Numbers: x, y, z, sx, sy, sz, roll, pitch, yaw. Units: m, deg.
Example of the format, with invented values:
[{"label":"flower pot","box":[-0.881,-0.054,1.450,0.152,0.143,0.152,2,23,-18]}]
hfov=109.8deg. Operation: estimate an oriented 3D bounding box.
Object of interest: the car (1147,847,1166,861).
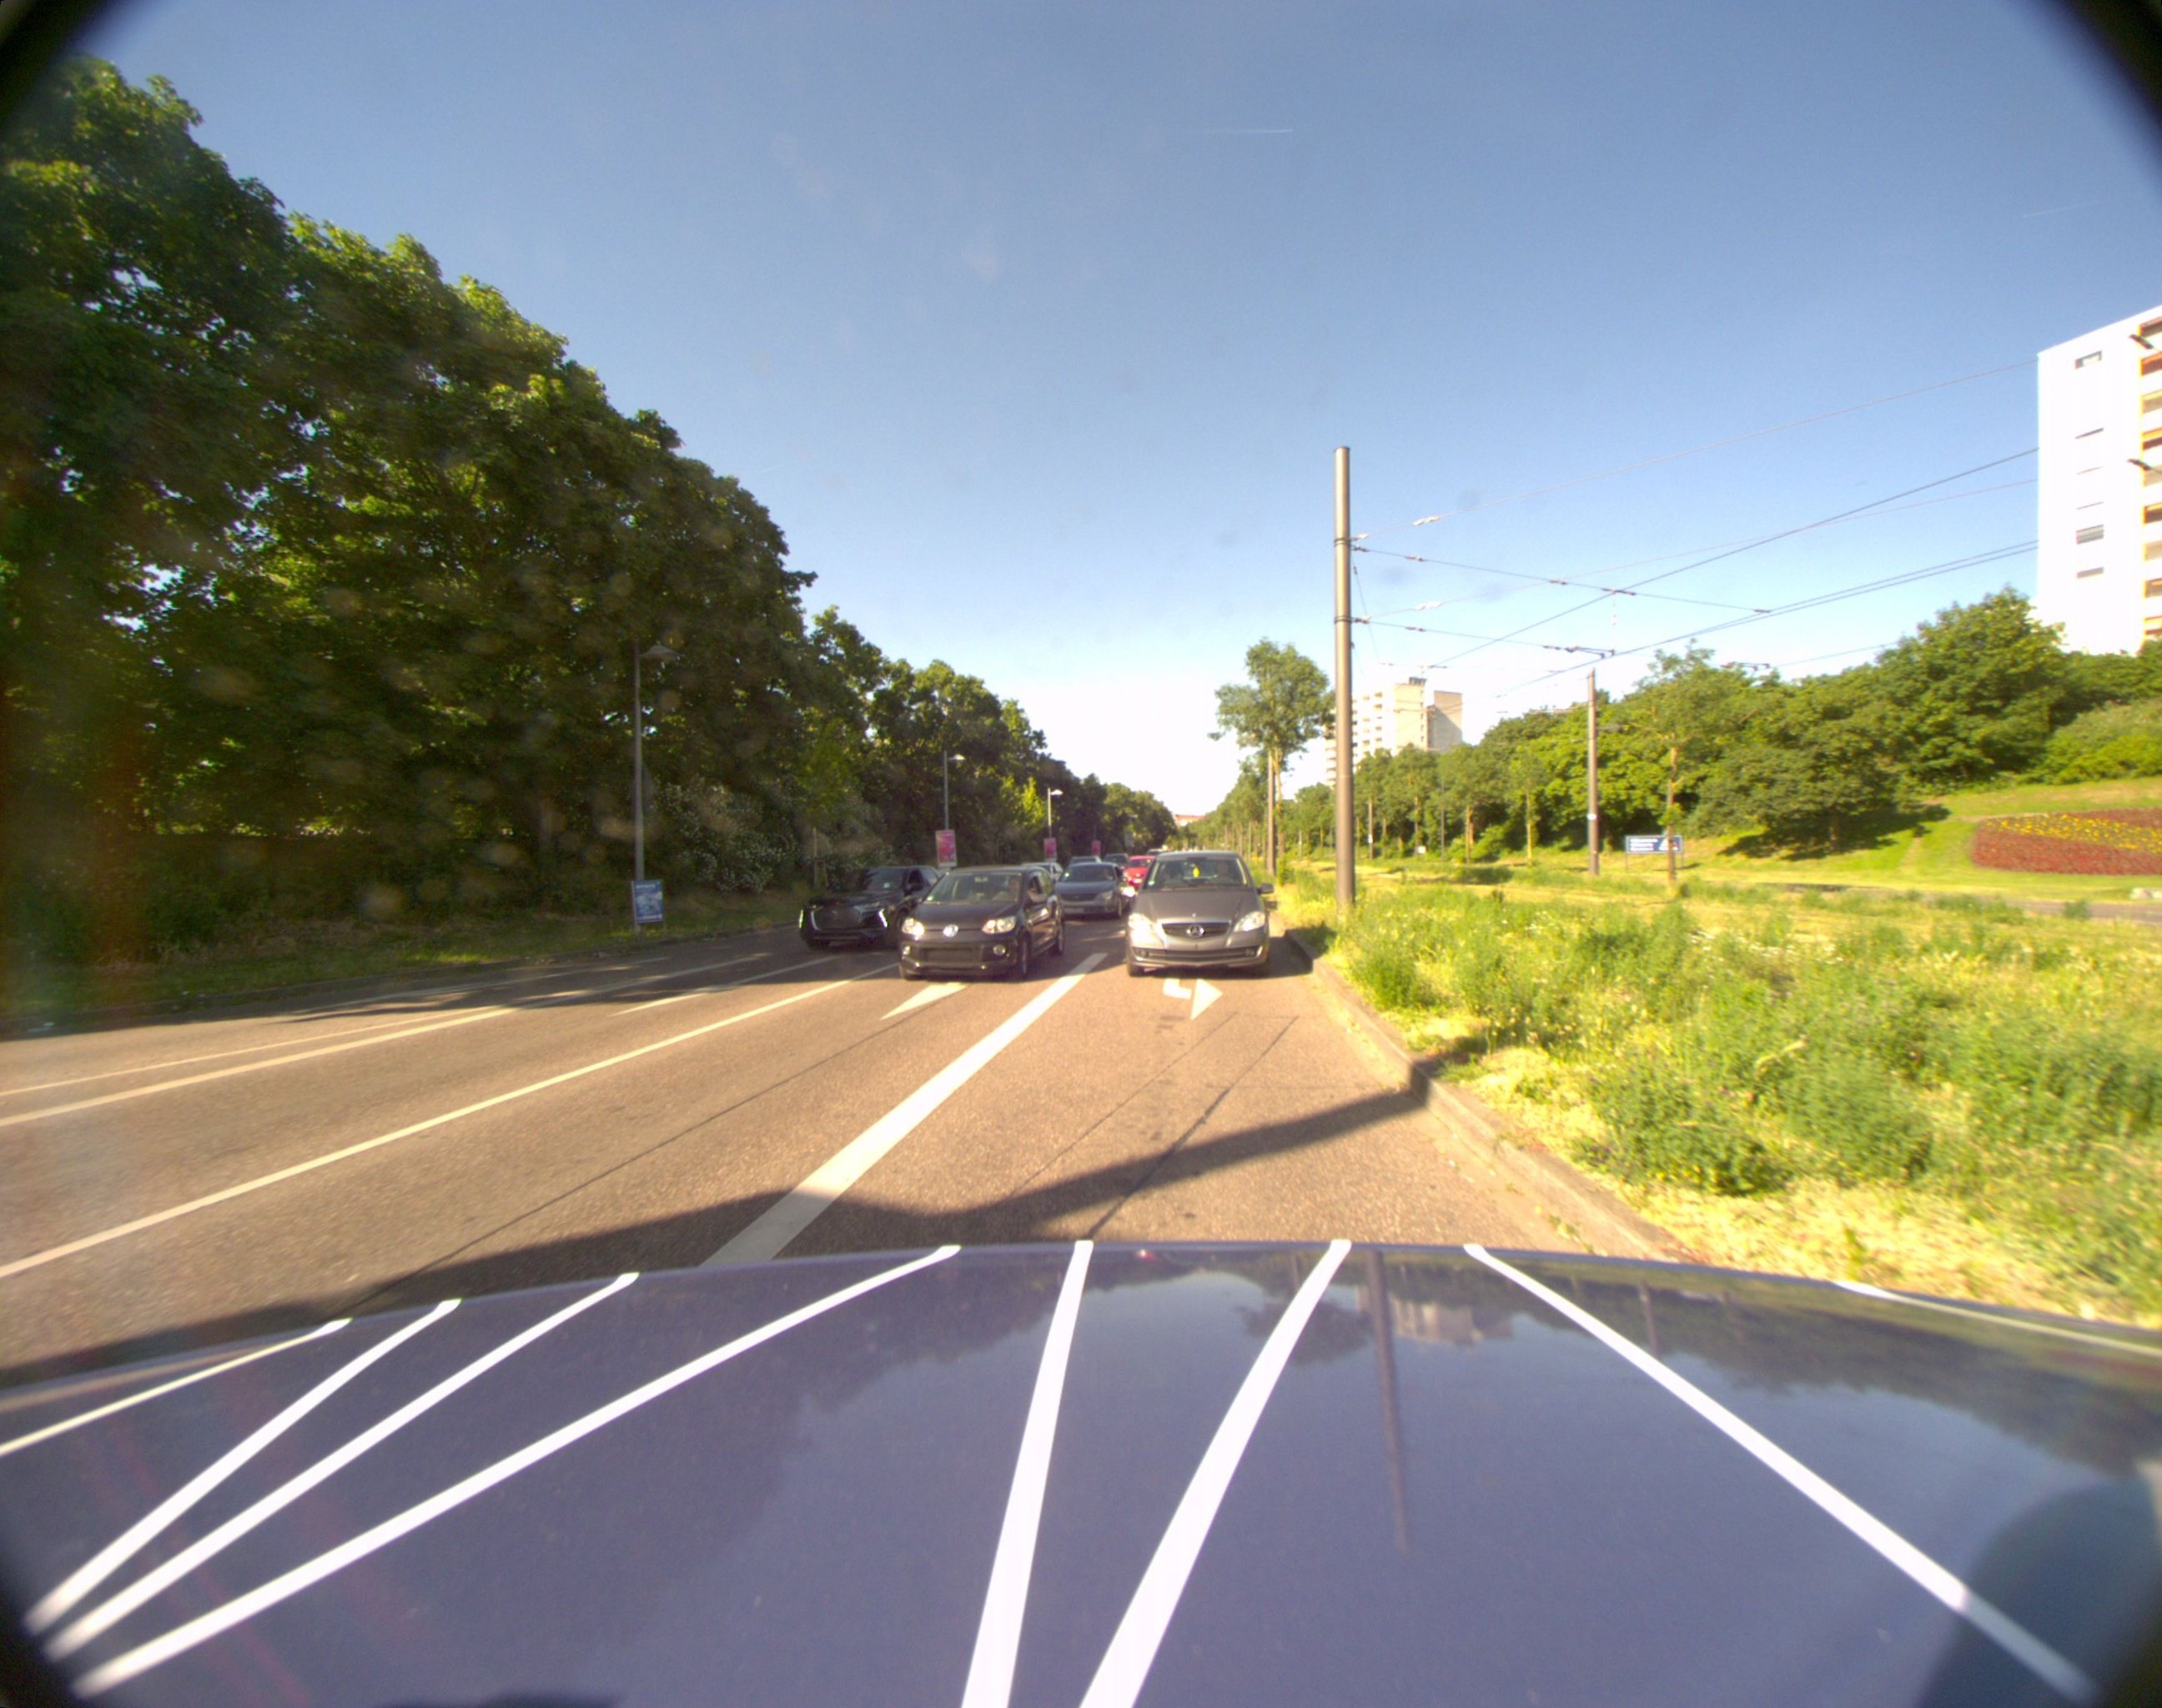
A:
[{"label":"car","box":[8.105,-0.028,80.988,1.712,1.485,3.966,-2,0,9]}]

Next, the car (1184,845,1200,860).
[{"label":"car","box":[12.217,-0.134,83.746,1.629,1.555,3.814,-2,0,9]}]

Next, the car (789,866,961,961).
[{"label":"car","box":[-3.800,1.051,14.804,1.712,1.485,3.966,-2,0,9]}]

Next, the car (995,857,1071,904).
[{"label":"car","box":[-1.622,0.904,27.528,1.747,1.427,4.389,-2,1,9]}]

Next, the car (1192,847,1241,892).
[{"label":"car","box":[5.356,0.559,30.326,1.748,1.652,4.003,-1,0,9]}]

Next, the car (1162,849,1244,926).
[{"label":"car","box":[3.013,0.742,18.936,1.748,1.652,4.002,-2,0,9]}]

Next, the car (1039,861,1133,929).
[{"label":"car","box":[0.239,0.943,19.107,1.712,1.430,4.174,-2,0,9]}]

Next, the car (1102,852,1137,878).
[{"label":"car","box":[2.440,0.655,47.390,1.712,1.485,3.966,-2,0,9]}]

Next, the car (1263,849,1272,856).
[{"label":"car","box":[42.087,-0.351,171.208,1.577,1.412,3.912,-2,0,9]}]

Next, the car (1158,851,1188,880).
[{"label":"car","box":[5.834,0.684,47.857,1.748,1.652,4.002,-2,0,9]}]

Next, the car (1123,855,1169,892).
[{"label":"car","box":[2.980,0.837,34.146,1.684,1.437,3.729,-2,0,10]}]

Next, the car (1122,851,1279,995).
[{"label":"car","box":[1.671,0.801,10.778,1.748,1.630,4.002,-2,0,9]}]

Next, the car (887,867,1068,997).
[{"label":"car","box":[-1.294,0.978,10.863,1.620,1.485,3.455,-2,0,8]}]

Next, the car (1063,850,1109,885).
[{"label":"car","box":[0.307,0.649,38.038,1.748,1.652,4.002,-1,0,9]}]

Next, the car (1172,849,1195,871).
[{"label":"car","box":[8.356,0.494,61.658,1.748,1.652,4.002,-2,0,9]}]
